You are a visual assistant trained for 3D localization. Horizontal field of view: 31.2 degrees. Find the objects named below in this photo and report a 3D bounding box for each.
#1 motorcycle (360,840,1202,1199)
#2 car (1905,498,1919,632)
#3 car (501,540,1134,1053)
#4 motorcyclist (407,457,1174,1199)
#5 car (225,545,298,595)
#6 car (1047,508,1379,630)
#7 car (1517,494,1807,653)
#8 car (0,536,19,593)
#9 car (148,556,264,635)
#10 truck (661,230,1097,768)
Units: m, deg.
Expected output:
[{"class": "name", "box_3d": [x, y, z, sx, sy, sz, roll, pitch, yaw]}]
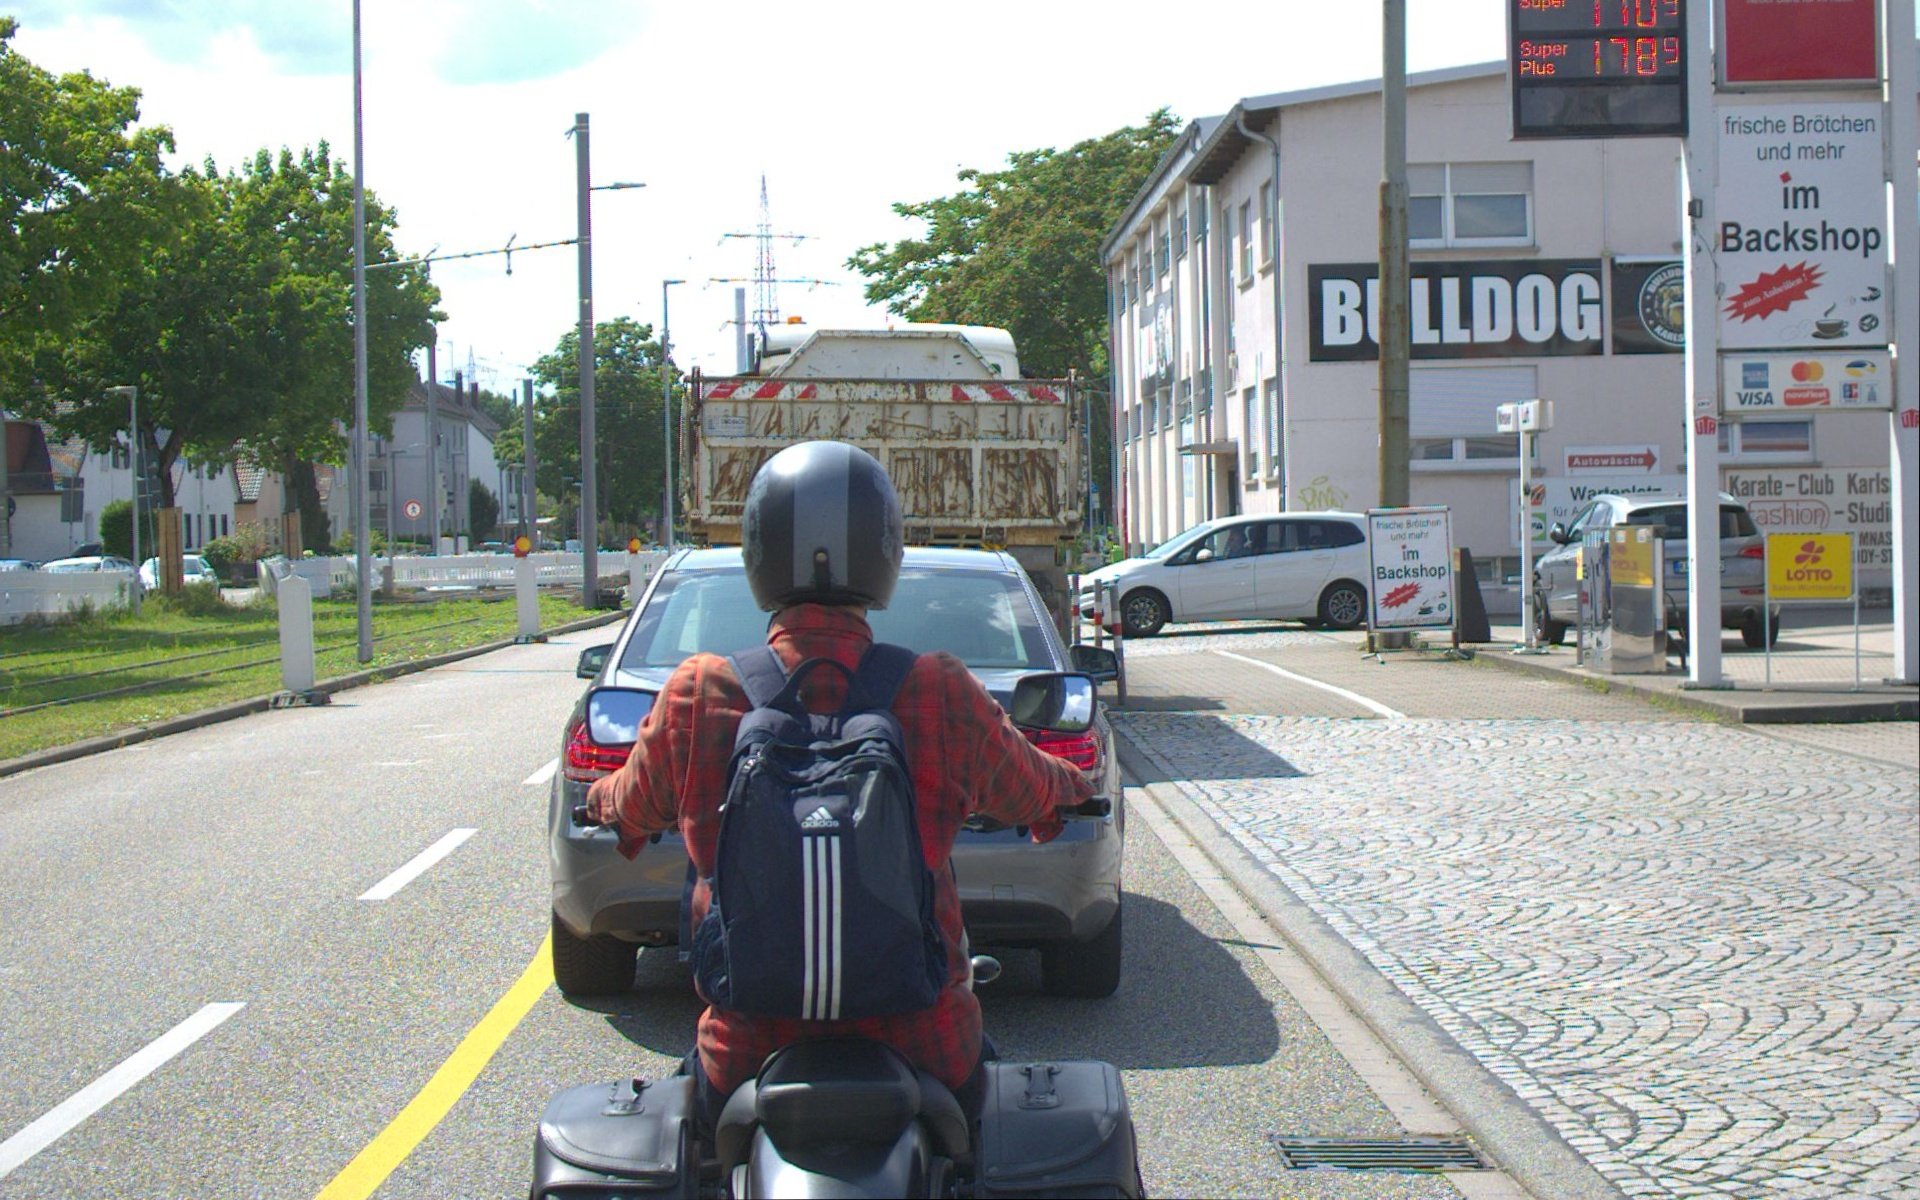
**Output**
[{"class": "motorcycle", "box_3d": [-0.215, 0.953, 5.342, 0.979, 0.894, 2.653, -1, 1, -1]}, {"class": "car", "box_3d": [11.731, -0.383, 37.094, 1.806, 1.498, 3.834, -1, 1, -3]}, {"class": "car", "box_3d": [-0.440, 0.540, 12.016, 1.823, 1.447, 4.000, 1, 1, -1]}, {"class": "motorcyclist", "box_3d": [-0.219, 0.611, 5.031, 0.979, 1.597, 1.088, -1, 1, -1]}, {"class": "car", "box_3d": [-25.421, -1.101, 125.246, 1.776, 1.717, 4.128, -1, 1, 0]}, {"class": "car", "box_3d": [3.437, -0.436, 47.012, 4.229, 1.537, 1.673, -1, 1, -8]}, {"class": "car", "box_3d": [7.376, -0.308, 36.525, 1.667, 1.557, 4.245, -1, 1, -8]}, {"class": "car", "box_3d": [-30.047, -1.063, 104.409, 1.776, 1.717, 4.128, -1, 1, 0]}, {"class": "car", "box_3d": [-17.500, -0.133, 79.964, 1.776, 1.717, 4.128, -1, 1, 0]}, {"class": "truck", "box_3d": [-0.545, -0.717, 25.367, 2.638, 3.285, 8.057, -1, 1, -1]}]
